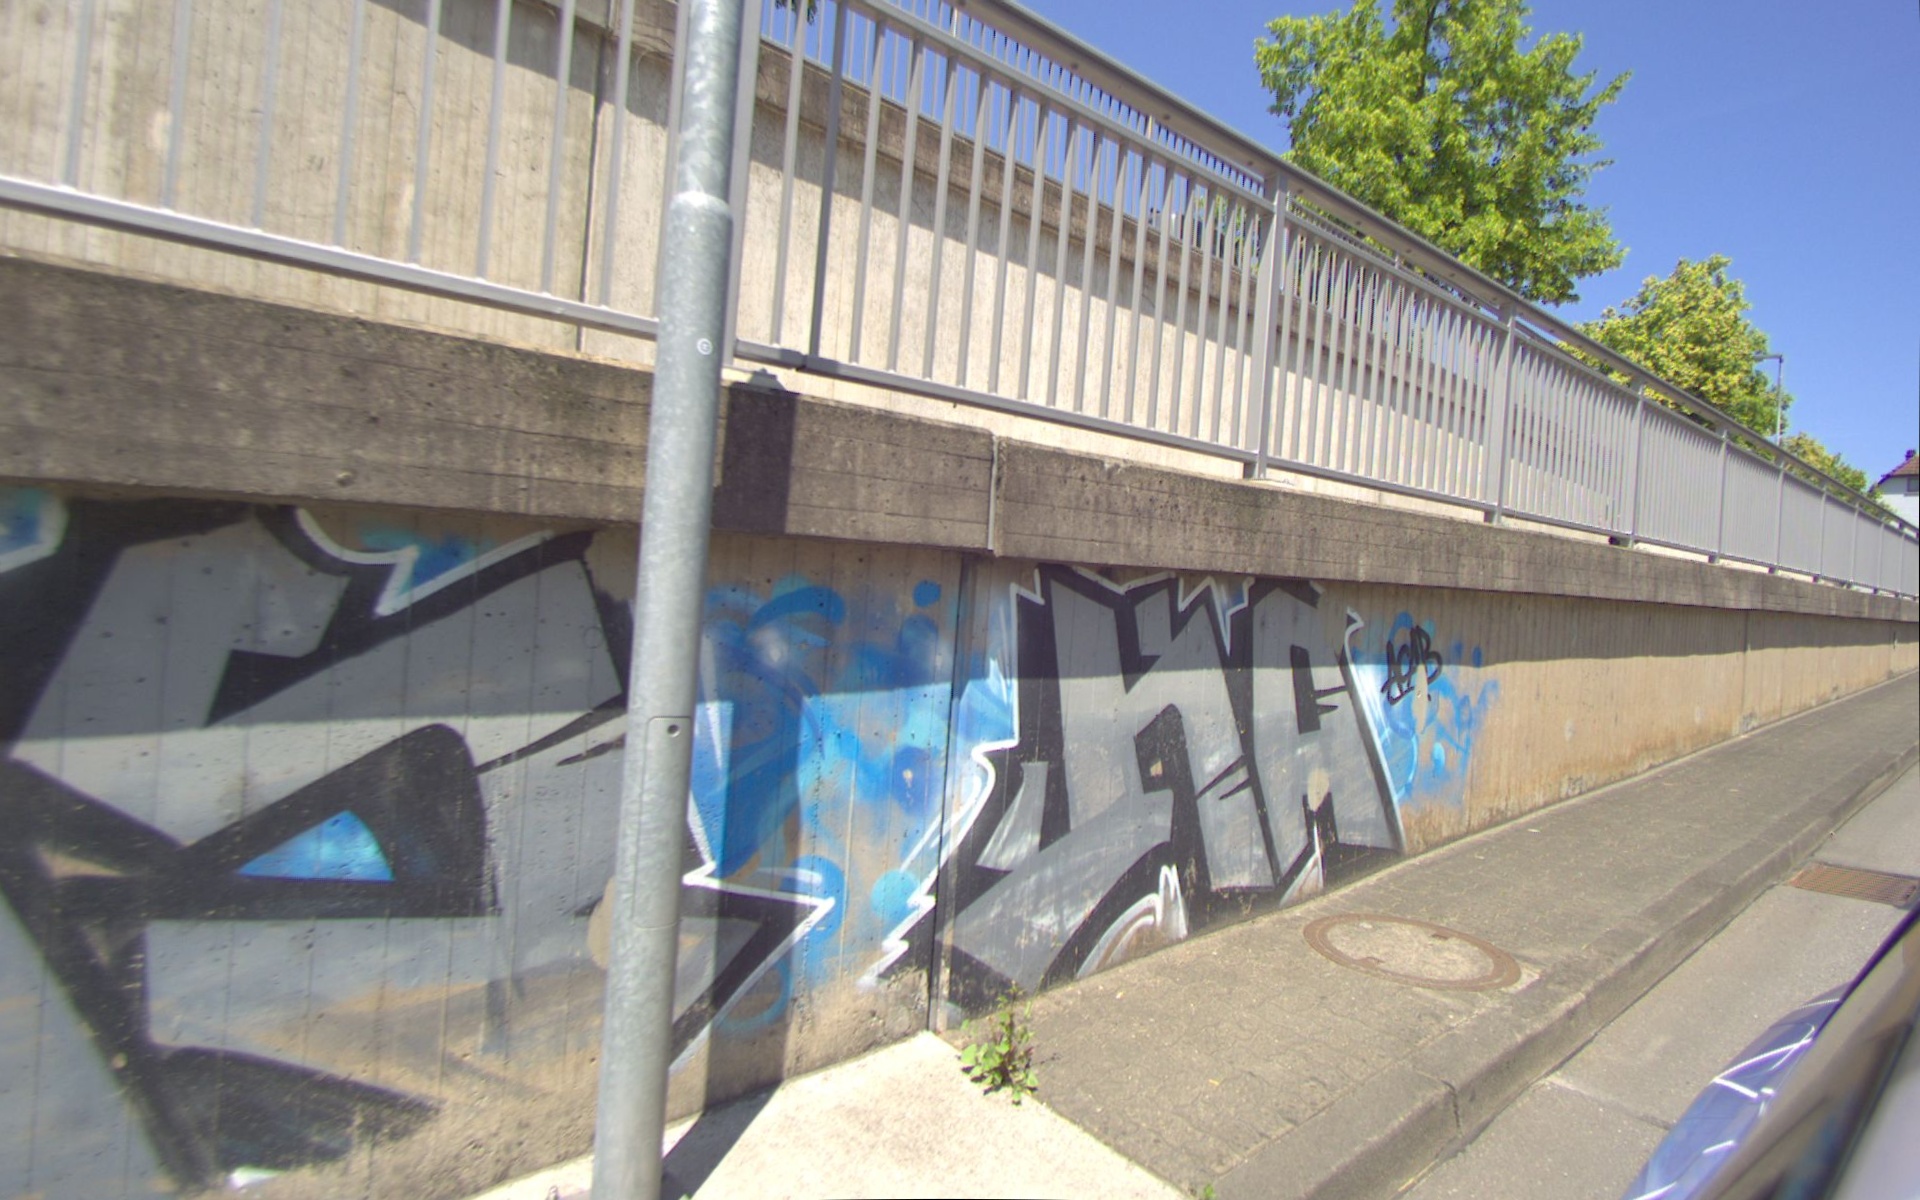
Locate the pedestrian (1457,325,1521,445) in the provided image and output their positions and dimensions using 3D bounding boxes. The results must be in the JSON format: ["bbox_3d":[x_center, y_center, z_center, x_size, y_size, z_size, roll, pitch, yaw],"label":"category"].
[{"bbox_3d":[8.727,-3.523,16.691,0.583,1.802,0.674,4,-1,-39],"label":"pedestrian"}]

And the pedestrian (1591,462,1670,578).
[{"bbox_3d":[10.928,-1.286,16.505,0.774,1.804,0.838,1,1,-40],"label":"pedestrian"}]
